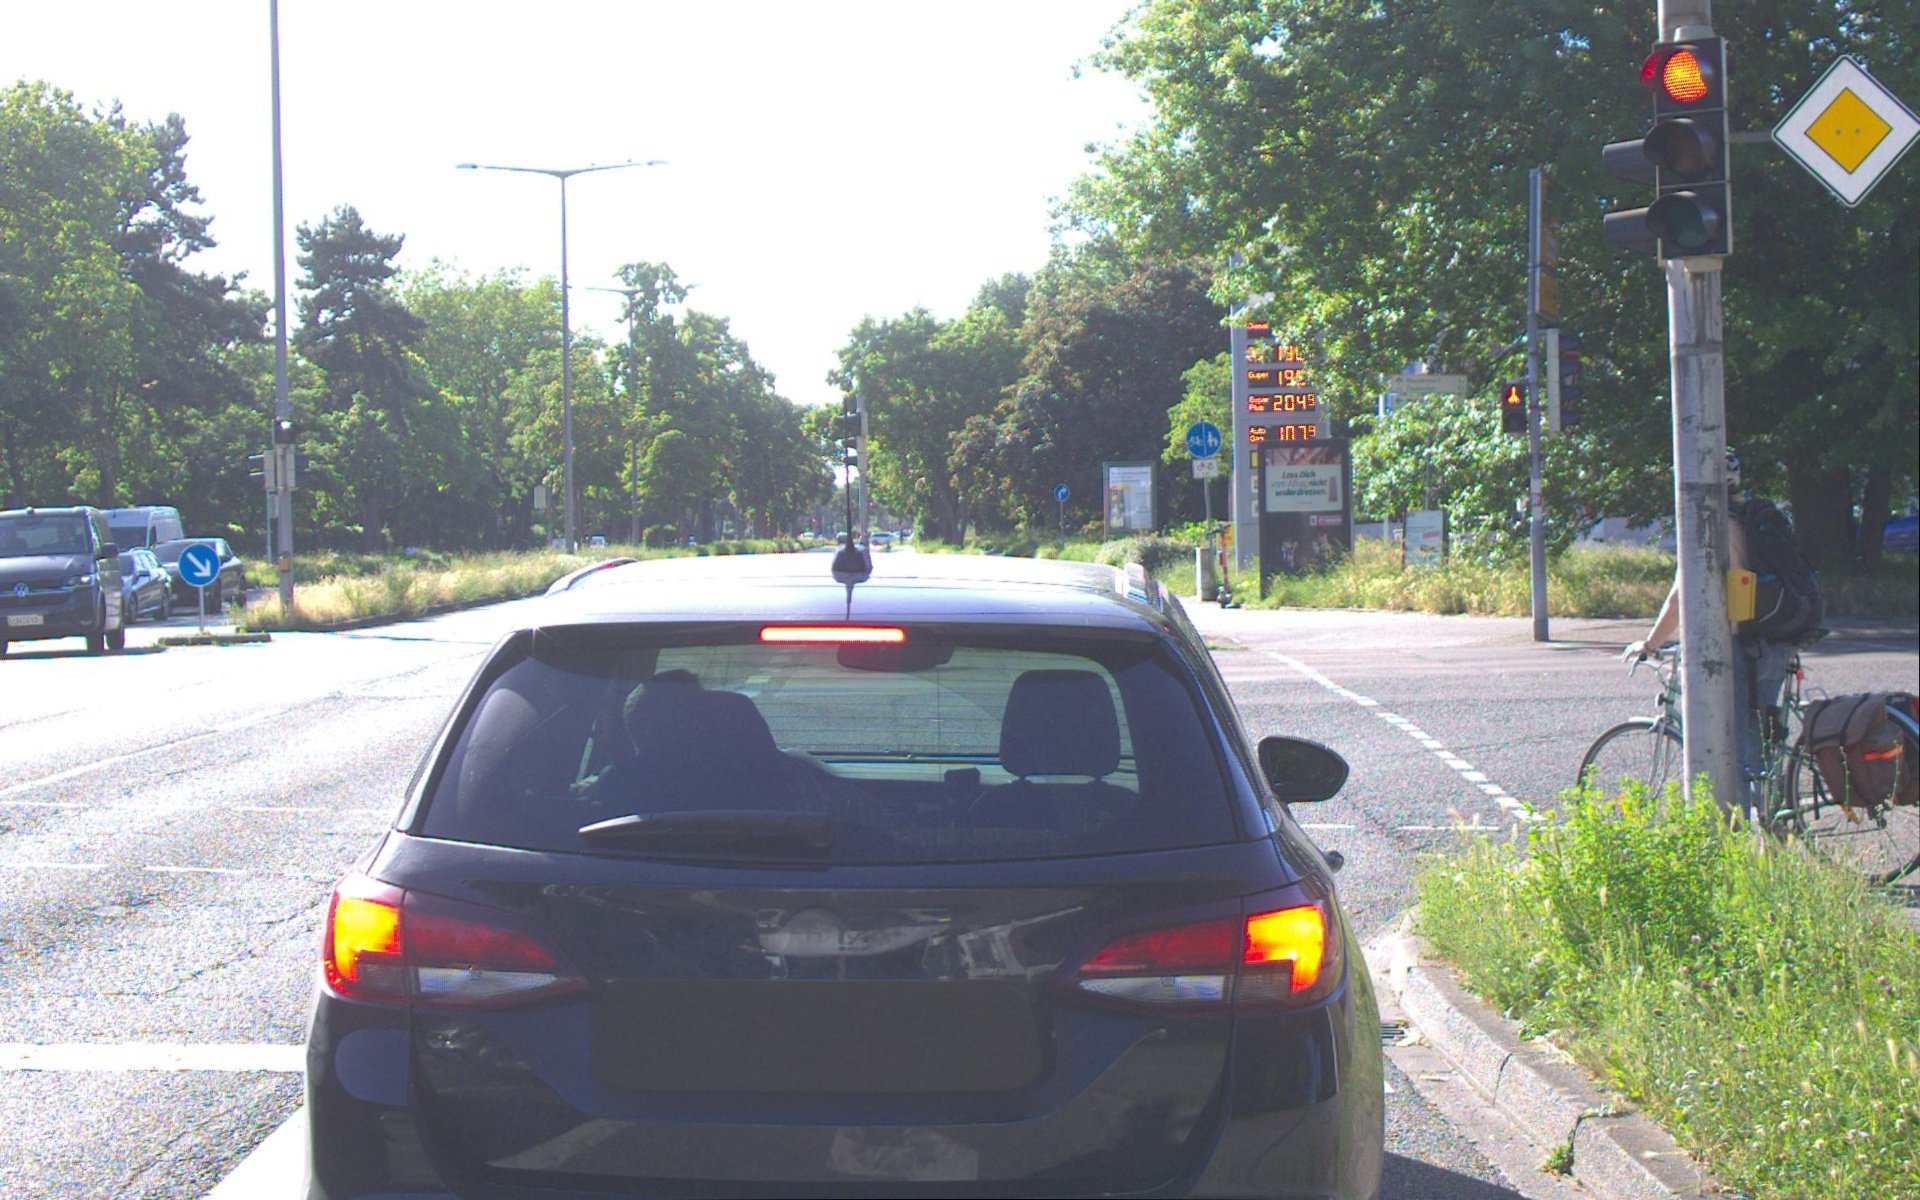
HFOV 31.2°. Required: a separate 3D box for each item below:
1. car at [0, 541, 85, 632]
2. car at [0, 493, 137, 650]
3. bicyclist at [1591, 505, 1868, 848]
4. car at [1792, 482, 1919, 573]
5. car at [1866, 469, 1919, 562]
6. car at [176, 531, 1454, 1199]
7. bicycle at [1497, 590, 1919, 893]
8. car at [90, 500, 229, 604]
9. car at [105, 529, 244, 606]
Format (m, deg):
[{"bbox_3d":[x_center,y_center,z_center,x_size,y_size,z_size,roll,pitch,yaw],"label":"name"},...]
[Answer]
[{"bbox_3d":[-16.892,-0.244,60.399,1.888,1.519,4.504,-1,1,-1],"label":"car"},{"bbox_3d":[-12.459,-0.407,46.706,1.911,1.985,5.016,-2,1,-7],"label":"car"},{"bbox_3d":[2.978,0.297,13.329,0.536,1.272,0.829,-3,0,-44],"label":"bicyclist"},{"bbox_3d":[16.622,-1.291,59.800,3.887,1.512,1.746,-2,1,-23],"label":"car"},{"bbox_3d":[17.098,-1.432,56.715,3.887,1.512,1.746,-2,1,-23],"label":"car"},{"bbox_3d":[-0.224,0.627,6.844,1.756,1.490,4.207,0,1,-1],"label":"car"},{"bbox_3d":[2.987,0.543,13.331,0.536,1.094,1.775,-3,0,-44],"label":"bicycle"},{"bbox_3d":[-20.163,-1.243,86.862,2.100,2.484,6.004,-2,1,-1],"label":"car"},{"bbox_3d":[-17.197,-0.742,75.497,1.993,1.596,4.616,-1,1,-1],"label":"car"}]
